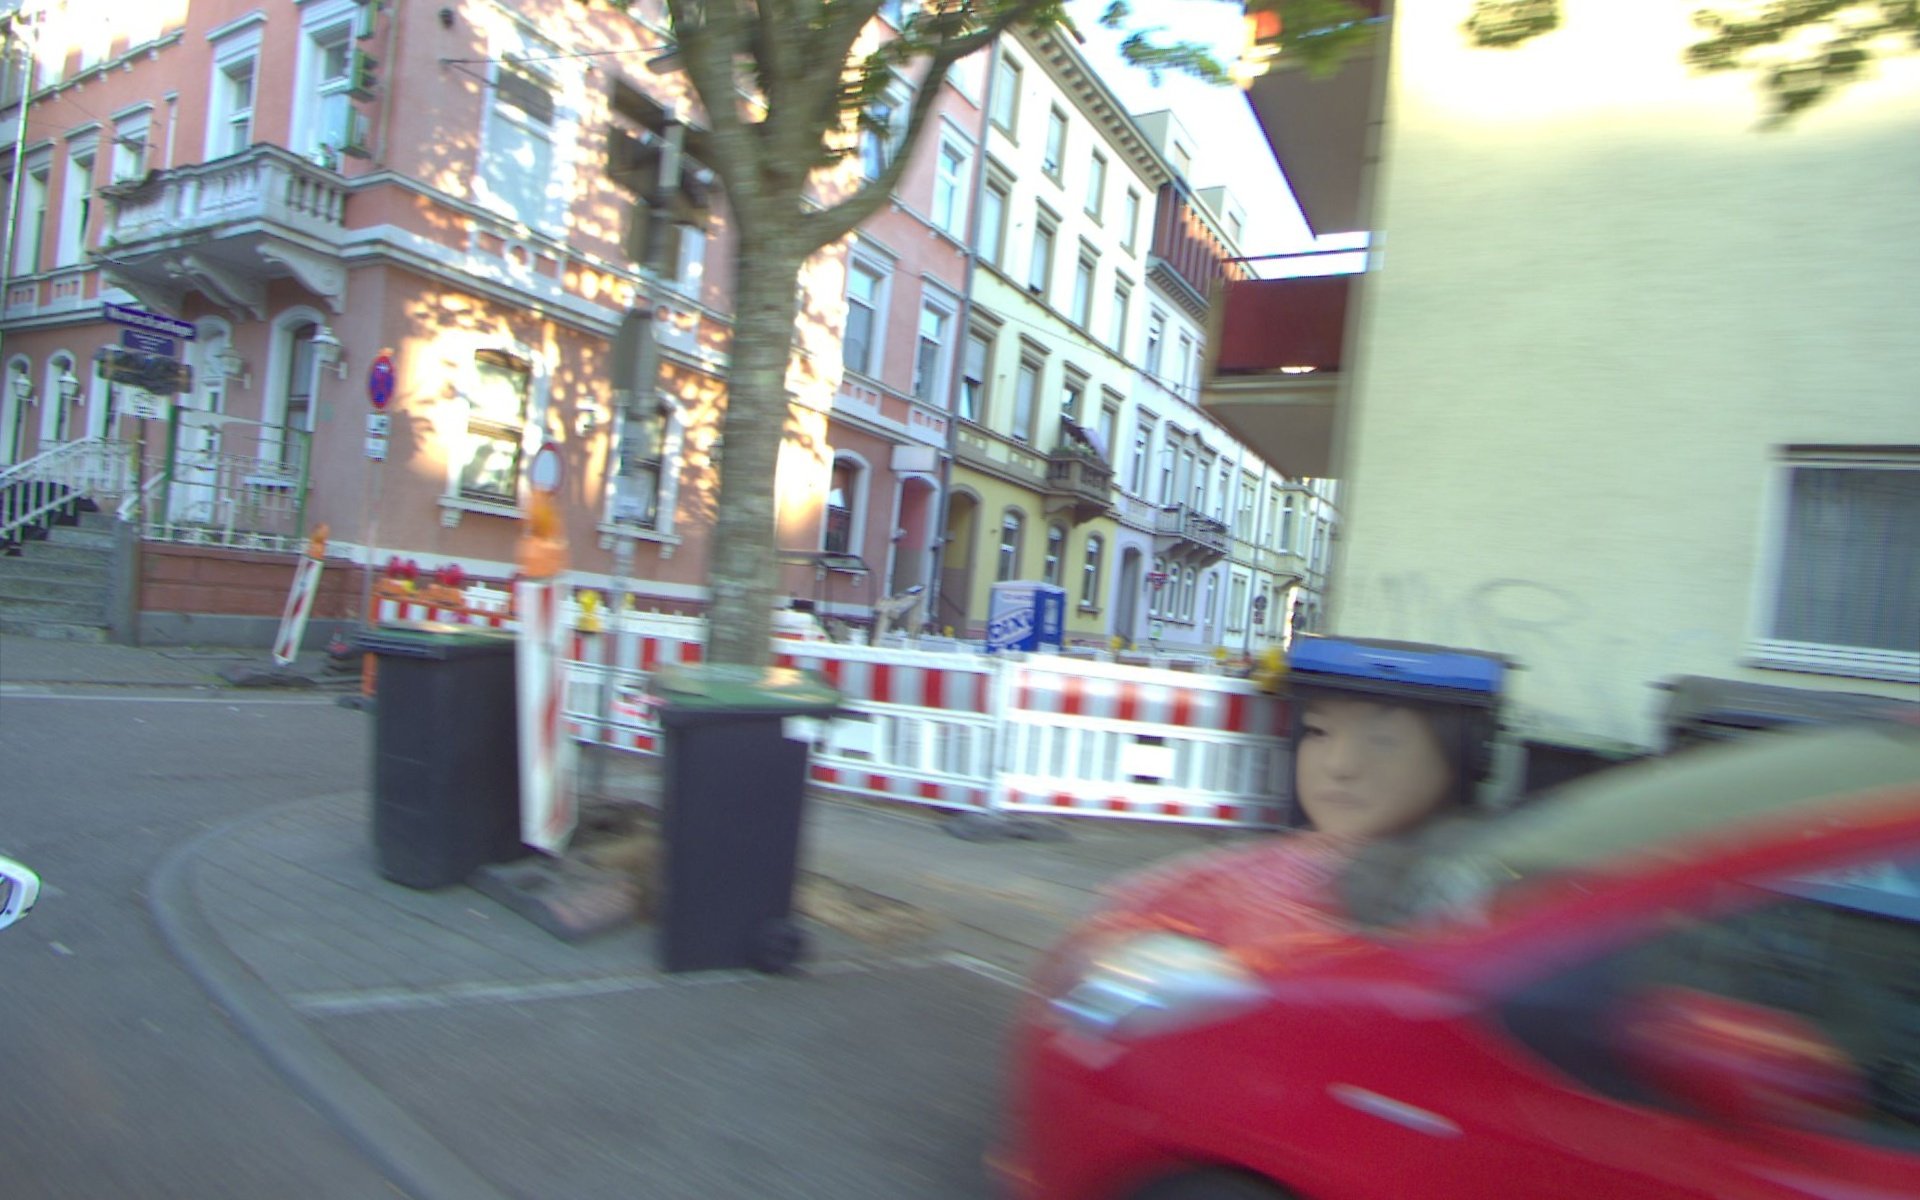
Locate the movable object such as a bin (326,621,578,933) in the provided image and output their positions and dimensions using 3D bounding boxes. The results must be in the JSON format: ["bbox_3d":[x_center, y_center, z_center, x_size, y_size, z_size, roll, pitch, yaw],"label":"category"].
[{"bbox_3d":[-2.194,0.725,4.362,0.580,1.167,0.711,6,0,42],"label":"movable object such as a bin"}]

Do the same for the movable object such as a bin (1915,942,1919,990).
[{"bbox_3d":[5.468,1.330,4.584,1.249,1.520,1.142,6,0,30],"label":"movable object such as a bin"}]

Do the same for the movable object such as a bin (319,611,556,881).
[{"bbox_3d":[-2.575,0.691,4.978,0.580,1.167,0.792,6,0,42],"label":"movable object such as a bin"}]

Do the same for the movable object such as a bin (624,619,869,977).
[{"bbox_3d":[-0.805,0.702,3.735,0.705,1.168,0.621,6,0,-17],"label":"movable object such as a bin"}]

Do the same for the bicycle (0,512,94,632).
[{"bbox_3d":[-10.516,-0.323,10.911,0.591,1.282,1.917,6,0,-4],"label":"bicycle"}]

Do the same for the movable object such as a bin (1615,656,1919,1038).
[{"bbox_3d":[4.121,1.120,4.928,1.296,1.520,1.074,6,0,28],"label":"movable object such as a bin"}]

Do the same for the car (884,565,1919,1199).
[{"bbox_3d":[1.807,0.896,1.563,3.635,1.556,1.564,6,1,35],"label":"car"}]

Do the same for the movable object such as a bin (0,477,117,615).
[{"bbox_3d":[-11.412,-0.676,12.326,1.375,1.520,1.142,6,0,30],"label":"movable object such as a bin"}]

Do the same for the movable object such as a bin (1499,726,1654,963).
[{"bbox_3d":[3.208,1.239,5.281,0.561,1.060,0.555,6,0,29],"label":"movable object such as a bin"}]

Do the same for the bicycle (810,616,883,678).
[{"bbox_3d":[-2.303,0.941,20.416,1.374,1.089,0.462,7,2,31],"label":"bicycle"}]

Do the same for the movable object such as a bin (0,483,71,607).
[{"bbox_3d":[-12.618,-0.765,13.054,1.375,1.520,1.142,6,0,30],"label":"movable object such as a bin"}]

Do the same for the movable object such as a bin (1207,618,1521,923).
[{"bbox_3d":[2.585,0.985,6.393,1.571,1.520,1.142,6,0,30],"label":"movable object such as a bin"}]
